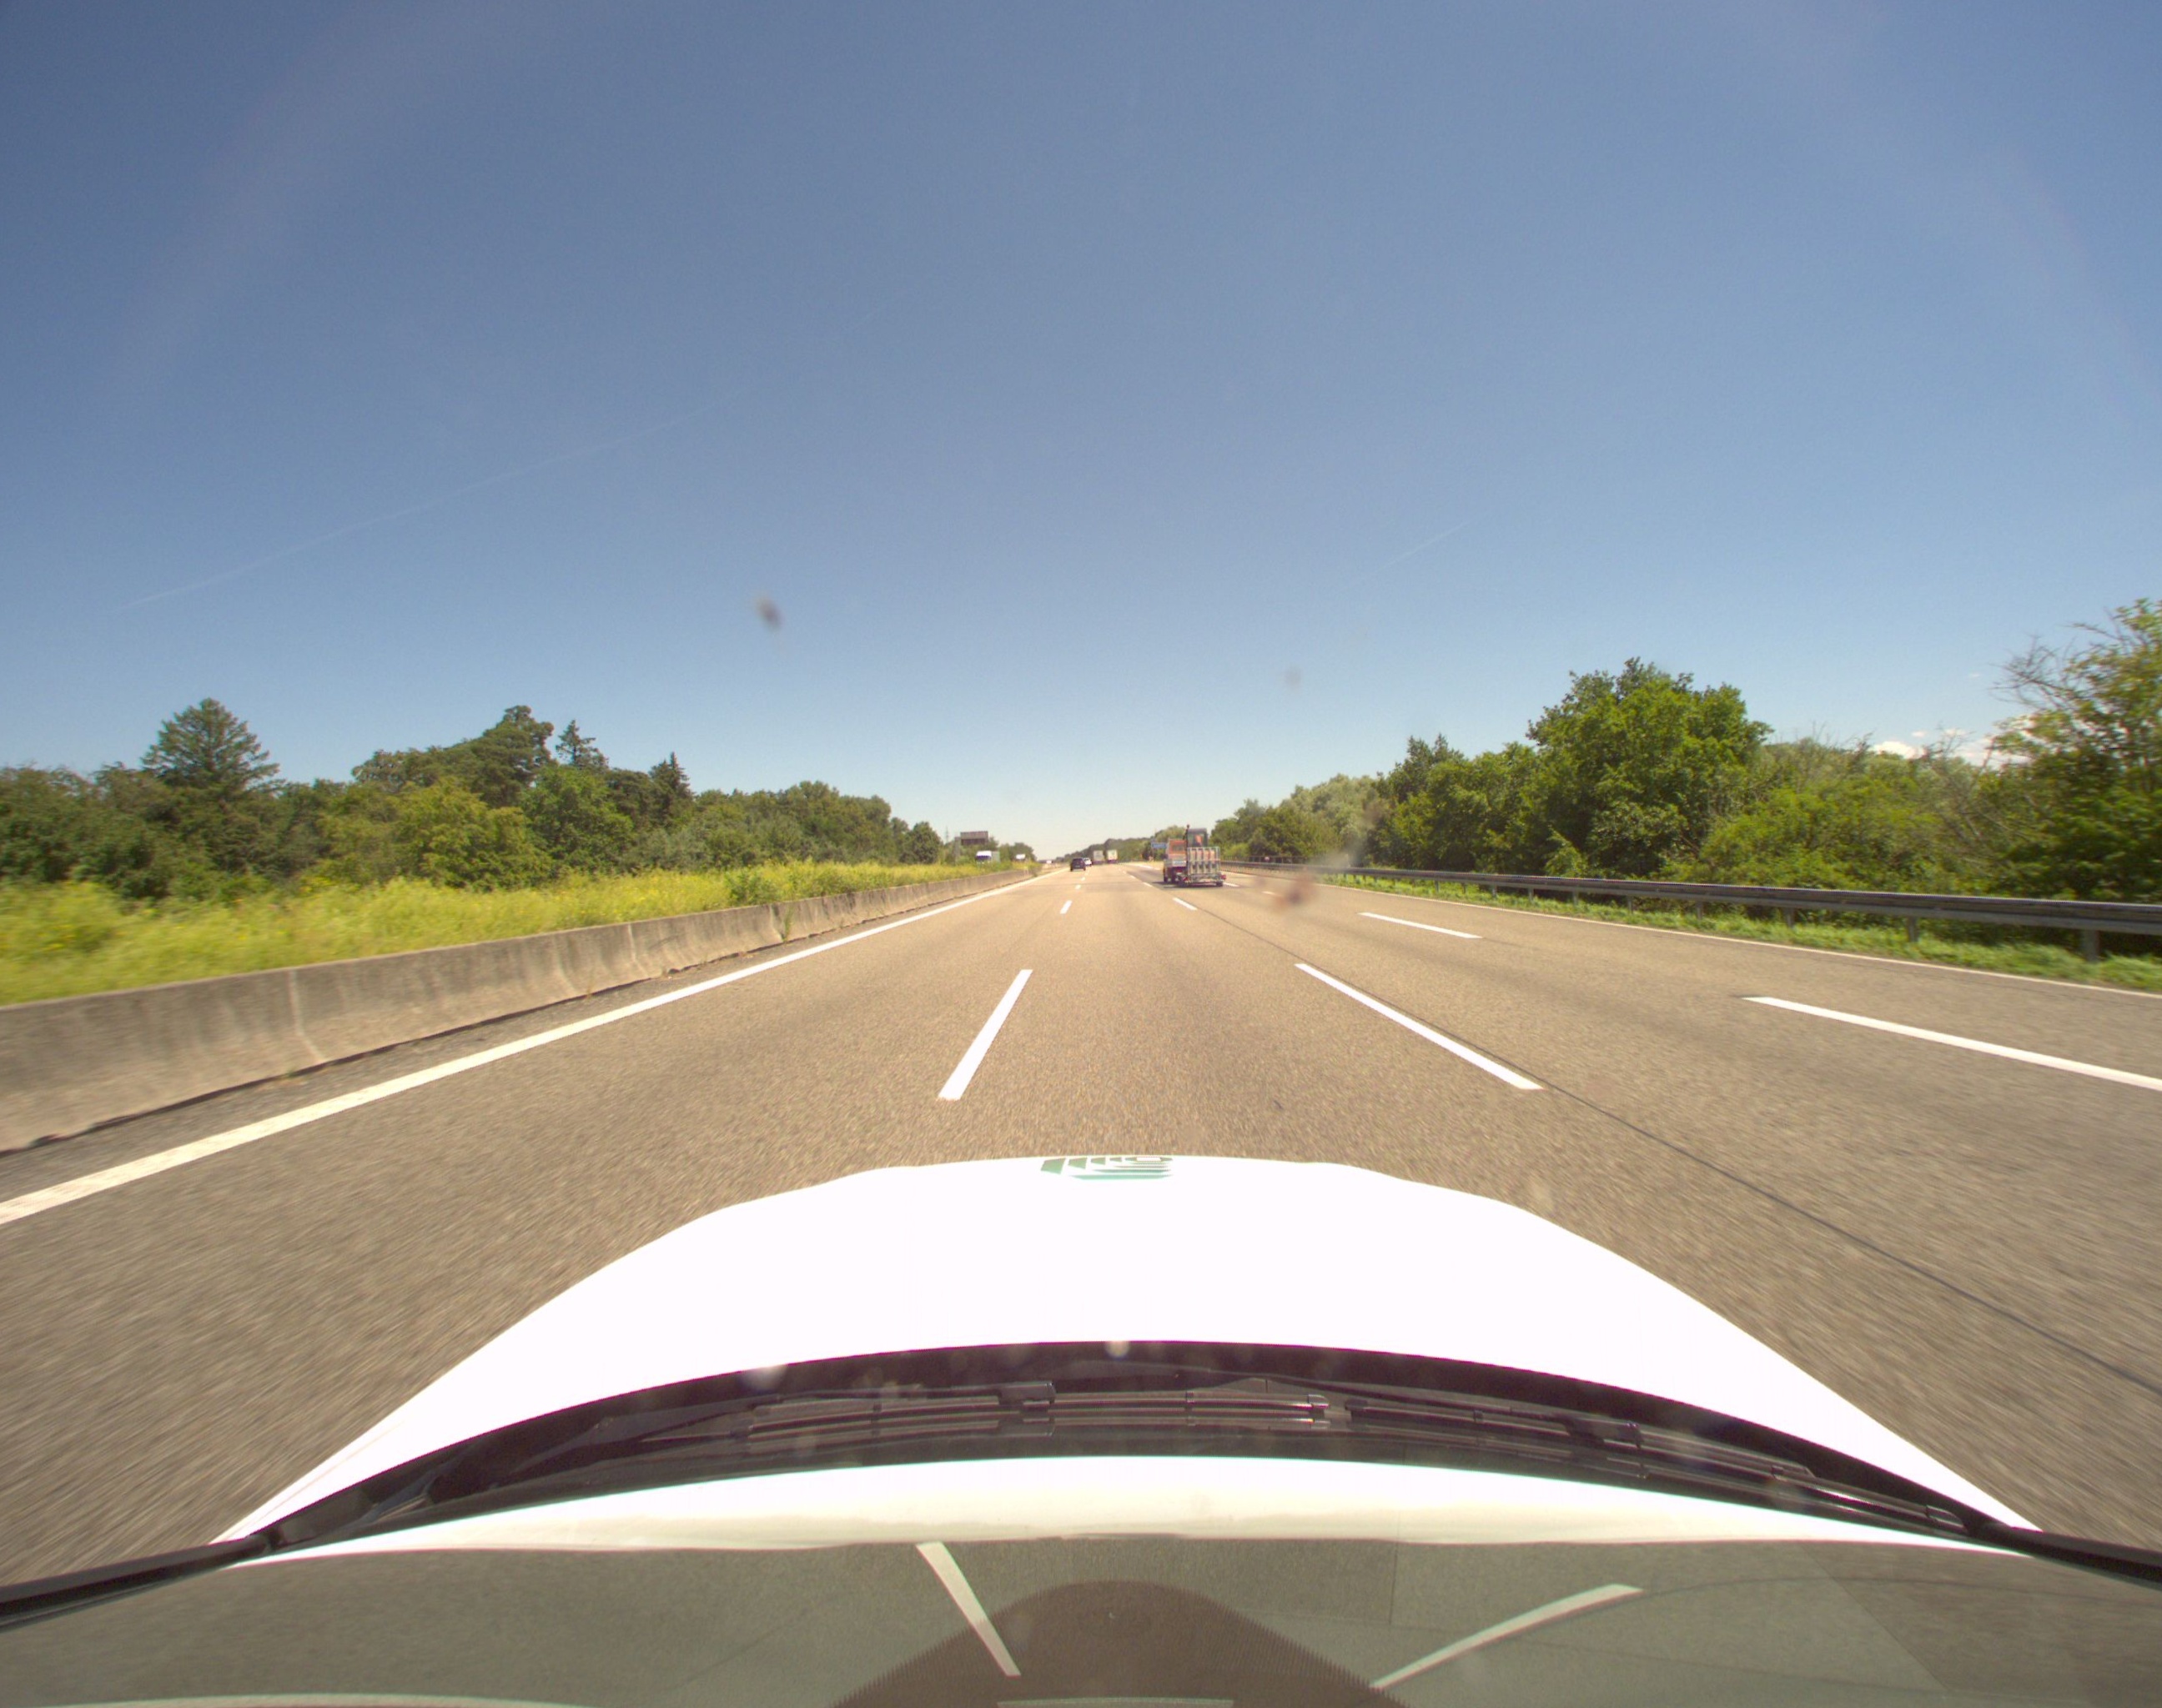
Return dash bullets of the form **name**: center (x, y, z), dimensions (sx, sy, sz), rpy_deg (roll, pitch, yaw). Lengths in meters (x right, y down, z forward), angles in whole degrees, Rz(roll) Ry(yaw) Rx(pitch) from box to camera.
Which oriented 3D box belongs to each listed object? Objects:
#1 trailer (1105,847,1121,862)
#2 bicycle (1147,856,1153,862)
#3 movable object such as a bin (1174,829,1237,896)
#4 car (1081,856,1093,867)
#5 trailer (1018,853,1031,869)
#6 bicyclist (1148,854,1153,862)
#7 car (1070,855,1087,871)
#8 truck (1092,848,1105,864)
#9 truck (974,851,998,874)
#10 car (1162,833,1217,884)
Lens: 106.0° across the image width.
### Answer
- **trailer**: center (9.190, 0.268, 234.003), dimensions (3.361, 4.143, 9.077), rpy_deg (0, 0, -4)
- **bicycle**: center (13.531, 1.059, 158.535), dimensions (0.954, 1.157, 2.614), rpy_deg (-1, 0, 9)
- **movable object such as a bin**: center (5.703, 0.382, 37.882), dimensions (2.166, 2.815, 4.762), rpy_deg (-3, -1, 1)
- **car**: center (1.158, 1.369, 152.031), dimensions (1.986, 1.874, 4.001), rpy_deg (-3, -1, 1)
- **trailer**: center (-15.588, 1.921, 224.472), dimensions (2.798, 4.047, 10.429), rpy_deg (0, 0, 0)
- **bicyclist**: center (13.506, 0.829, 158.432), dimensions (0.954, 1.595, 0.809), rpy_deg (-1, -1, 9)
- **car**: center (-0.254, 1.192, 105.378), dimensions (1.986, 1.874, 4.001), rpy_deg (-3, -1, 1)
- **truck**: center (4.774, 0.464, 220.568), dimensions (3.219, 4.202, 8.464), rpy_deg (-1, 0, 0)
- **truck**: center (-17.553, 1.502, 150.778), dimensions (2.974, 4.076, 8.195), rpy_deg (-3, 0, 1)
- **car**: center (5.732, 0.252, 43.854), dimensions (1.986, 2.405, 7.227), rpy_deg (-3, -1, 1)
